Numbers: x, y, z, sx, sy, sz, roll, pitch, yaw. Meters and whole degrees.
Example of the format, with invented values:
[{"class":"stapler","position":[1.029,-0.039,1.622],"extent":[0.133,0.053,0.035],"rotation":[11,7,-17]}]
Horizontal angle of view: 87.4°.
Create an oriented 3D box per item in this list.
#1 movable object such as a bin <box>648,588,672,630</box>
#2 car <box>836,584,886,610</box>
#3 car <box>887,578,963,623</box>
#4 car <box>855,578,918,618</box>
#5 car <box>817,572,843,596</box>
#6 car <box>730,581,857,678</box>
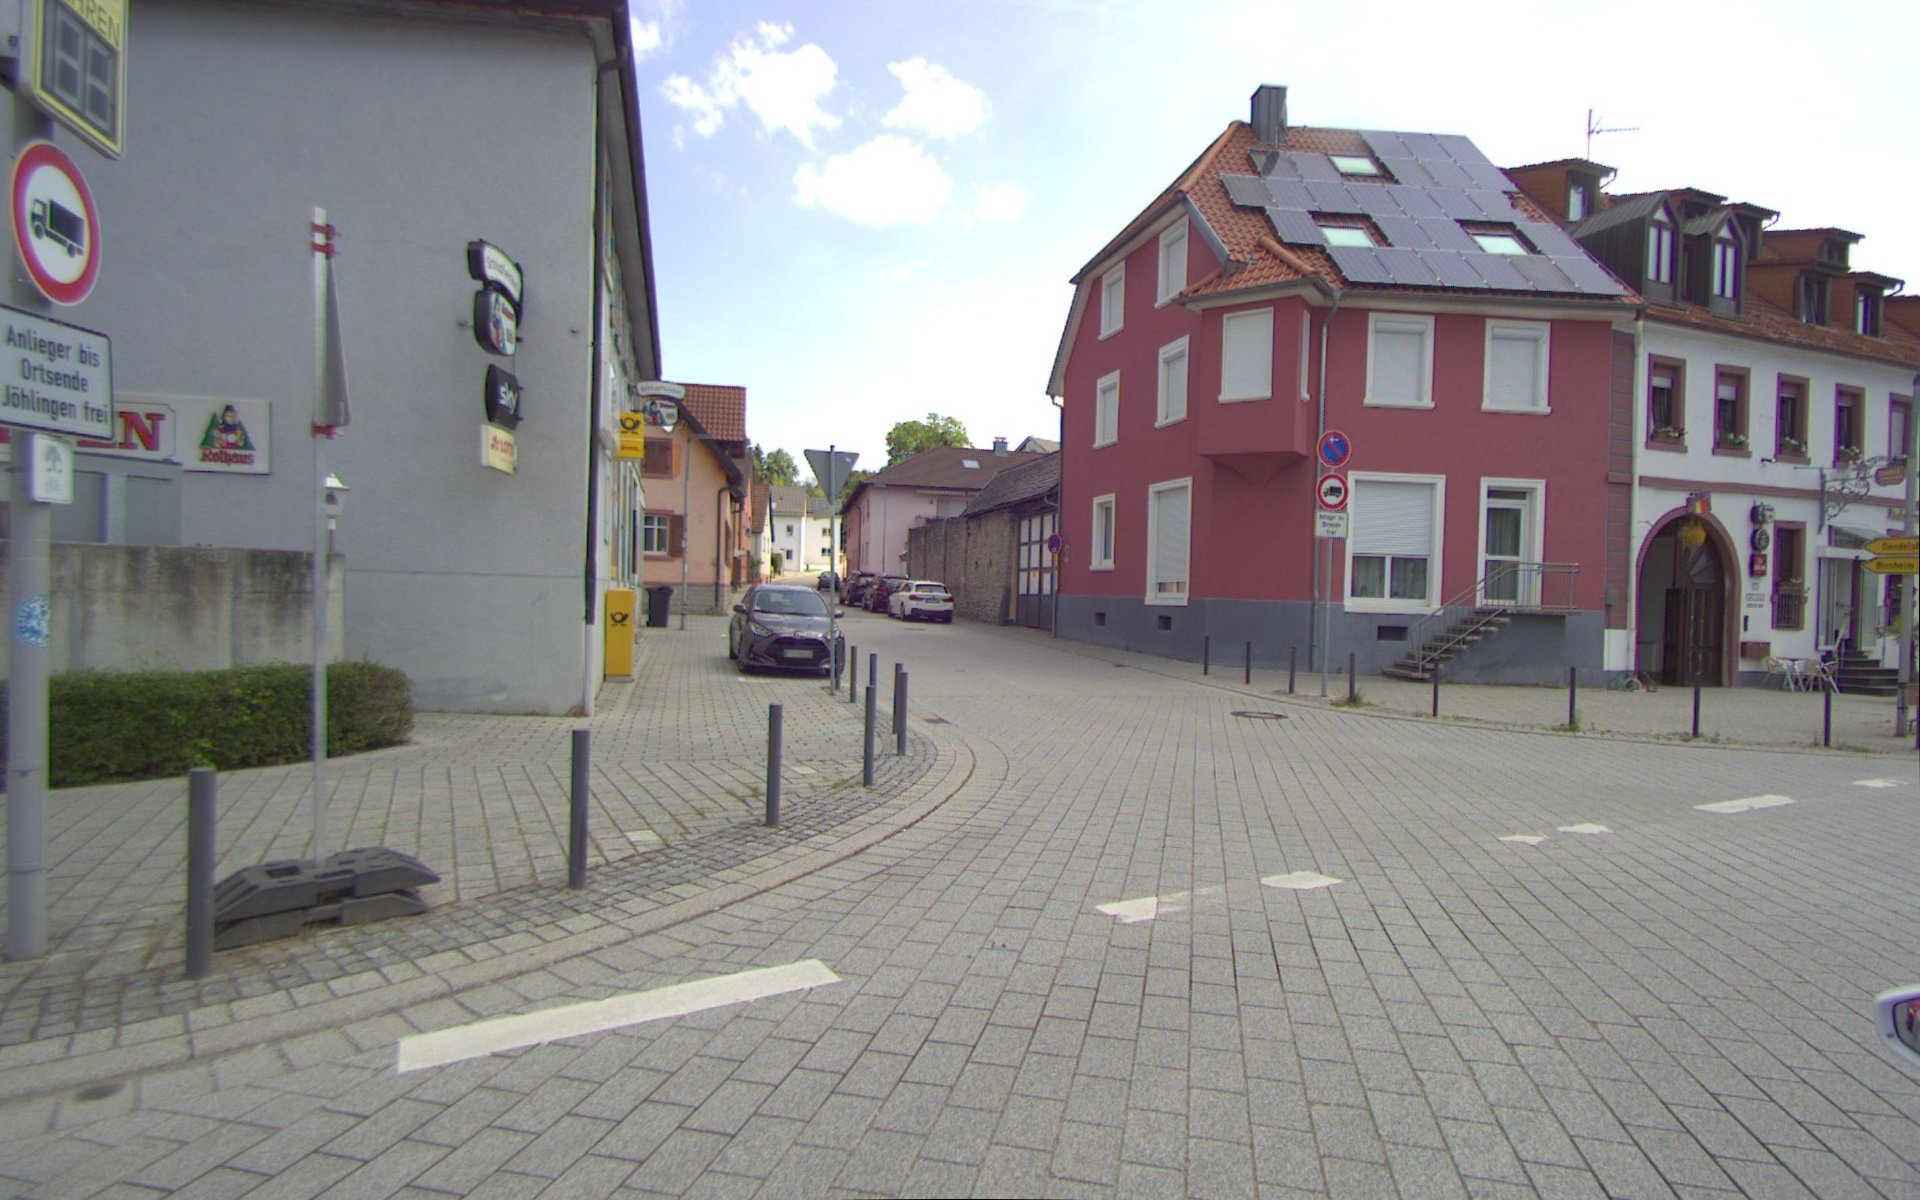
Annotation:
[{"class":"movable object such as a bin","position":[-8.185,0.246,27.410],"extent":[0.576,1.131,0.492],"rotation":[2,-1,-17]},{"class":"car","position":[-4.816,-0.168,48.373],"extent":[1.573,1.168,3.984],"rotation":[2,0,-18]},{"class":"car","position":[-1.344,0.008,37.100],"extent":[1.954,1.538,3.453],"rotation":[2,0,-17]},{"class":"car","position":[-3.202,-0.127,43.188],"extent":[1.765,1.515,3.983],"rotation":[2,2,-18]},{"class":"car","position":[-10.034,-1.205,77.245],"extent":[1.728,1.728,3.993],"rotation":[2,0,-10]},{"class":"car","position":[-3.114,0.473,18.144],"extent":[1.745,1.538,3.939],"rotation":[2,0,-17]}]
